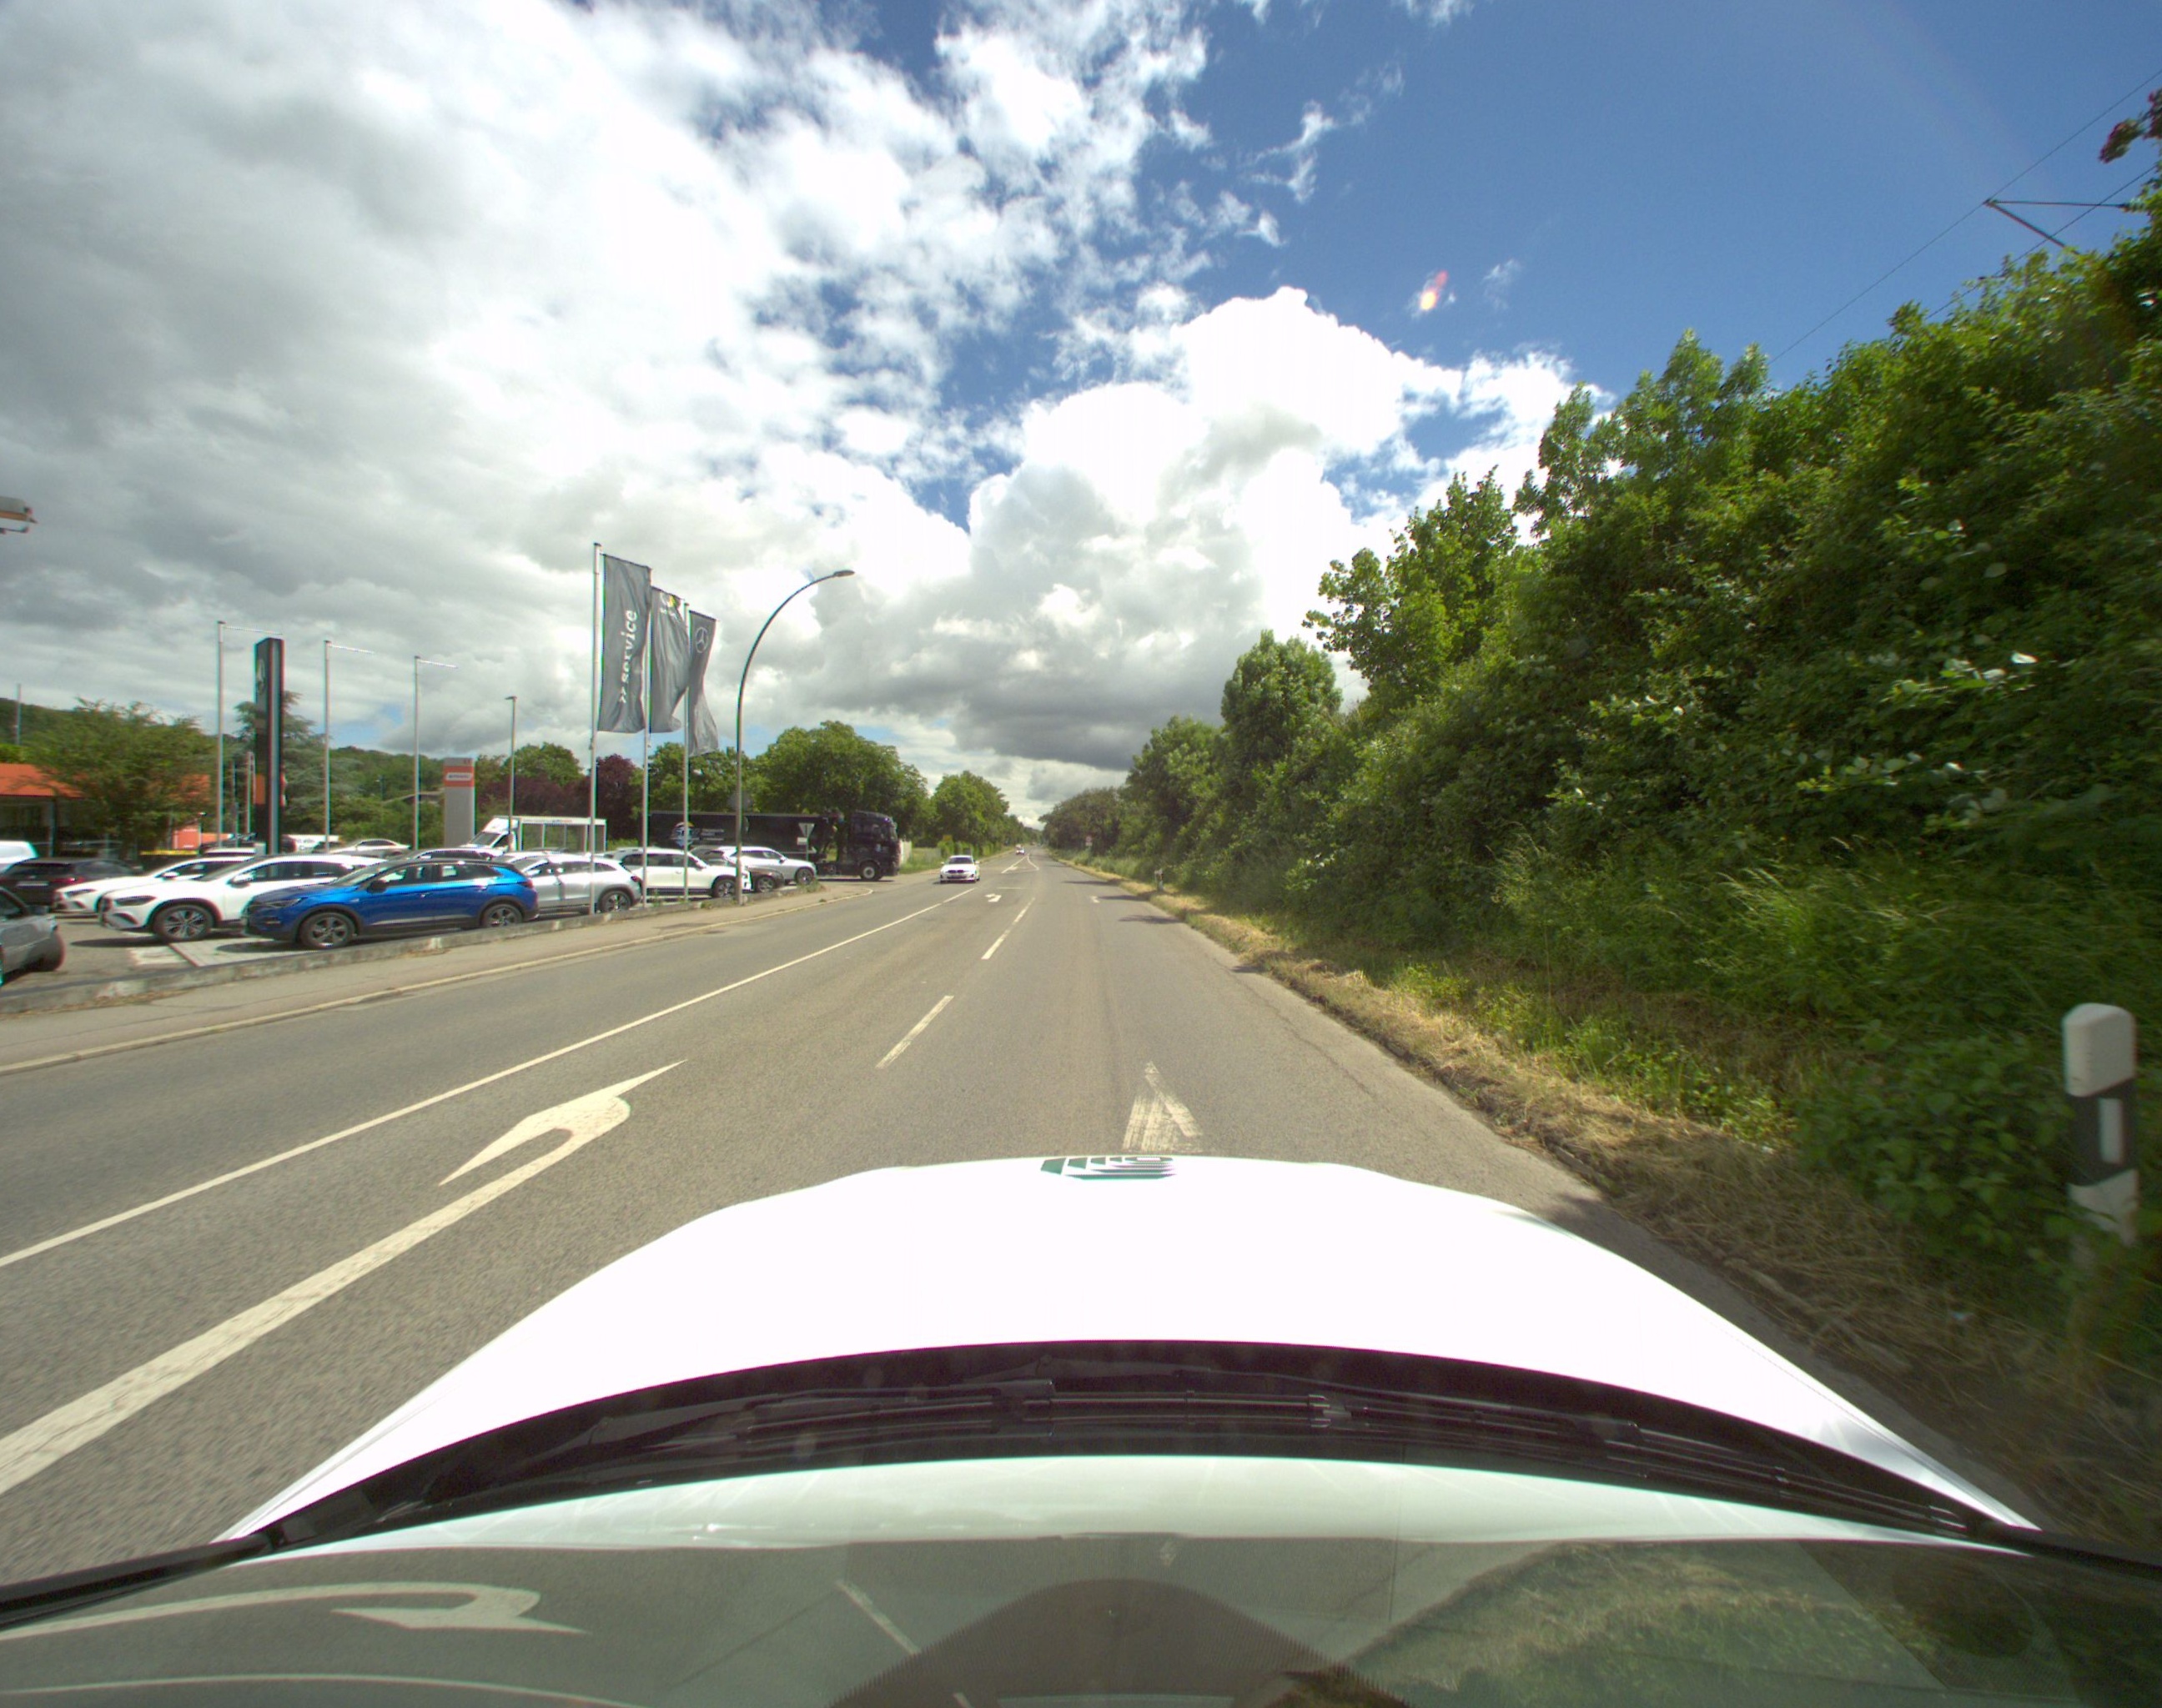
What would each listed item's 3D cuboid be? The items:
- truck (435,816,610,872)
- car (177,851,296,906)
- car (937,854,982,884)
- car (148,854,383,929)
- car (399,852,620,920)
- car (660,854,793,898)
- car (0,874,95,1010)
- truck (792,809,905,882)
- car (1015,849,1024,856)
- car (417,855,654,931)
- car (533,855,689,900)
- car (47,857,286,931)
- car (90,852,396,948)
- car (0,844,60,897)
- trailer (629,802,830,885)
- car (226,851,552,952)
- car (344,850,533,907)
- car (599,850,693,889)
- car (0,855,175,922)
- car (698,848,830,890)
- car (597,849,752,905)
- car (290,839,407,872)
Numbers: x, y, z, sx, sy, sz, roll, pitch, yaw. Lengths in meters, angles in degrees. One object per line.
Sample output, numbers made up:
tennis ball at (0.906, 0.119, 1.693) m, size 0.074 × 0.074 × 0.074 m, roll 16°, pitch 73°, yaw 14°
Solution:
truck at (-32.821, -0.557, 48.424) m, size 2.634 × 3.049 × 8.633 m, roll 0°, pitch 0°, yaw 20°
car at (-26.800, 0.716, 25.995) m, size 1.854 × 1.629 × 3.958 m, roll 0°, pitch 0°, yaw -34°
car at (-6.415, 0.775, 43.312) m, size 1.990 × 1.450 × 4.419 m, roll -1°, pitch 0°, yaw -4°
car at (-20.506, 0.853, 20.630) m, size 1.781 × 1.625 × 3.980 m, roll 1°, pitch 1°, yaw 36°
car at (-15.332, 0.766, 22.122) m, size 1.850 × 1.566 × 4.550 m, roll 2°, pitch 2°, yaw 35°
car at (-13.086, 0.775, 30.154) m, size 4.342 × 1.465 × 1.779 m, roll 0°, pitch 2°, yaw -31°
car at (-14.930, 1.069, 10.666) m, size 1.813 × 1.390 × 4.544 m, roll 4°, pitch -1°, yaw -42°
truck at (-12.667, -0.457, 44.847) m, size 5.551 × 3.823 × 2.976 m, roll 0°, pitch 0°, yaw -8°
car at (-12.709, -0.249, 168.488) m, size 1.657 × 1.432 × 3.688 m, roll -1°, pitch 1°, yaw -3°
car at (-13.384, 0.859, 20.273) m, size 1.850 × 1.566 × 4.550 m, roll 2°, pitch 2°, yaw 35°
car at (-17.148, 0.790, 29.898) m, size 1.844 × 1.467 × 4.588 m, roll 2°, pitch 1°, yaw 37°
car at (-23.598, 0.944, 21.160) m, size 1.781 × 1.625 × 3.980 m, roll 1°, pitch 1°, yaw 36°
car at (-16.784, 0.803, 16.558) m, size 1.781 × 1.625 × 3.979 m, roll 1°, pitch 1°, yaw 28°
car at (-38.506, 0.572, 27.518) m, size 1.810 × 1.846 × 4.702 m, roll 0°, pitch 0°, yaw 26°
trailer at (-18.341, -0.505, 43.275) m, size 9.464 × 4.083 × 3.298 m, roll 0°, pitch 0°, yaw -19°
car at (-13.547, 0.820, 16.255) m, size 1.870 × 1.668 × 4.600 m, roll 2°, pitch 1°, yaw 35°
car at (-20.396, 0.709, 26.016) m, size 1.844 × 1.616 × 4.461 m, roll 2°, pitch 1°, yaw 41°
car at (-19.594, 0.659, 36.930) m, size 1.793 × 1.601 × 4.761 m, roll -1°, pitch 0°, yaw -2°
car at (-27.896, 0.881, 22.842) m, size 1.806 × 1.625 × 3.925 m, roll 0°, pitch 1°, yaw -23°
car at (-13.242, 0.587, 34.227) m, size 1.963 × 1.605 × 4.771 m, roll 1°, pitch 0°, yaw 42°
car at (-13.191, 0.699, 26.514) m, size 4.315 × 1.678 × 1.917 m, roll 0°, pitch 0°, yaw -33°
car at (-42.422, 0.078, 47.297) m, size 1.810 × 1.846 × 4.702 m, roll 0°, pitch 0°, yaw 26°
